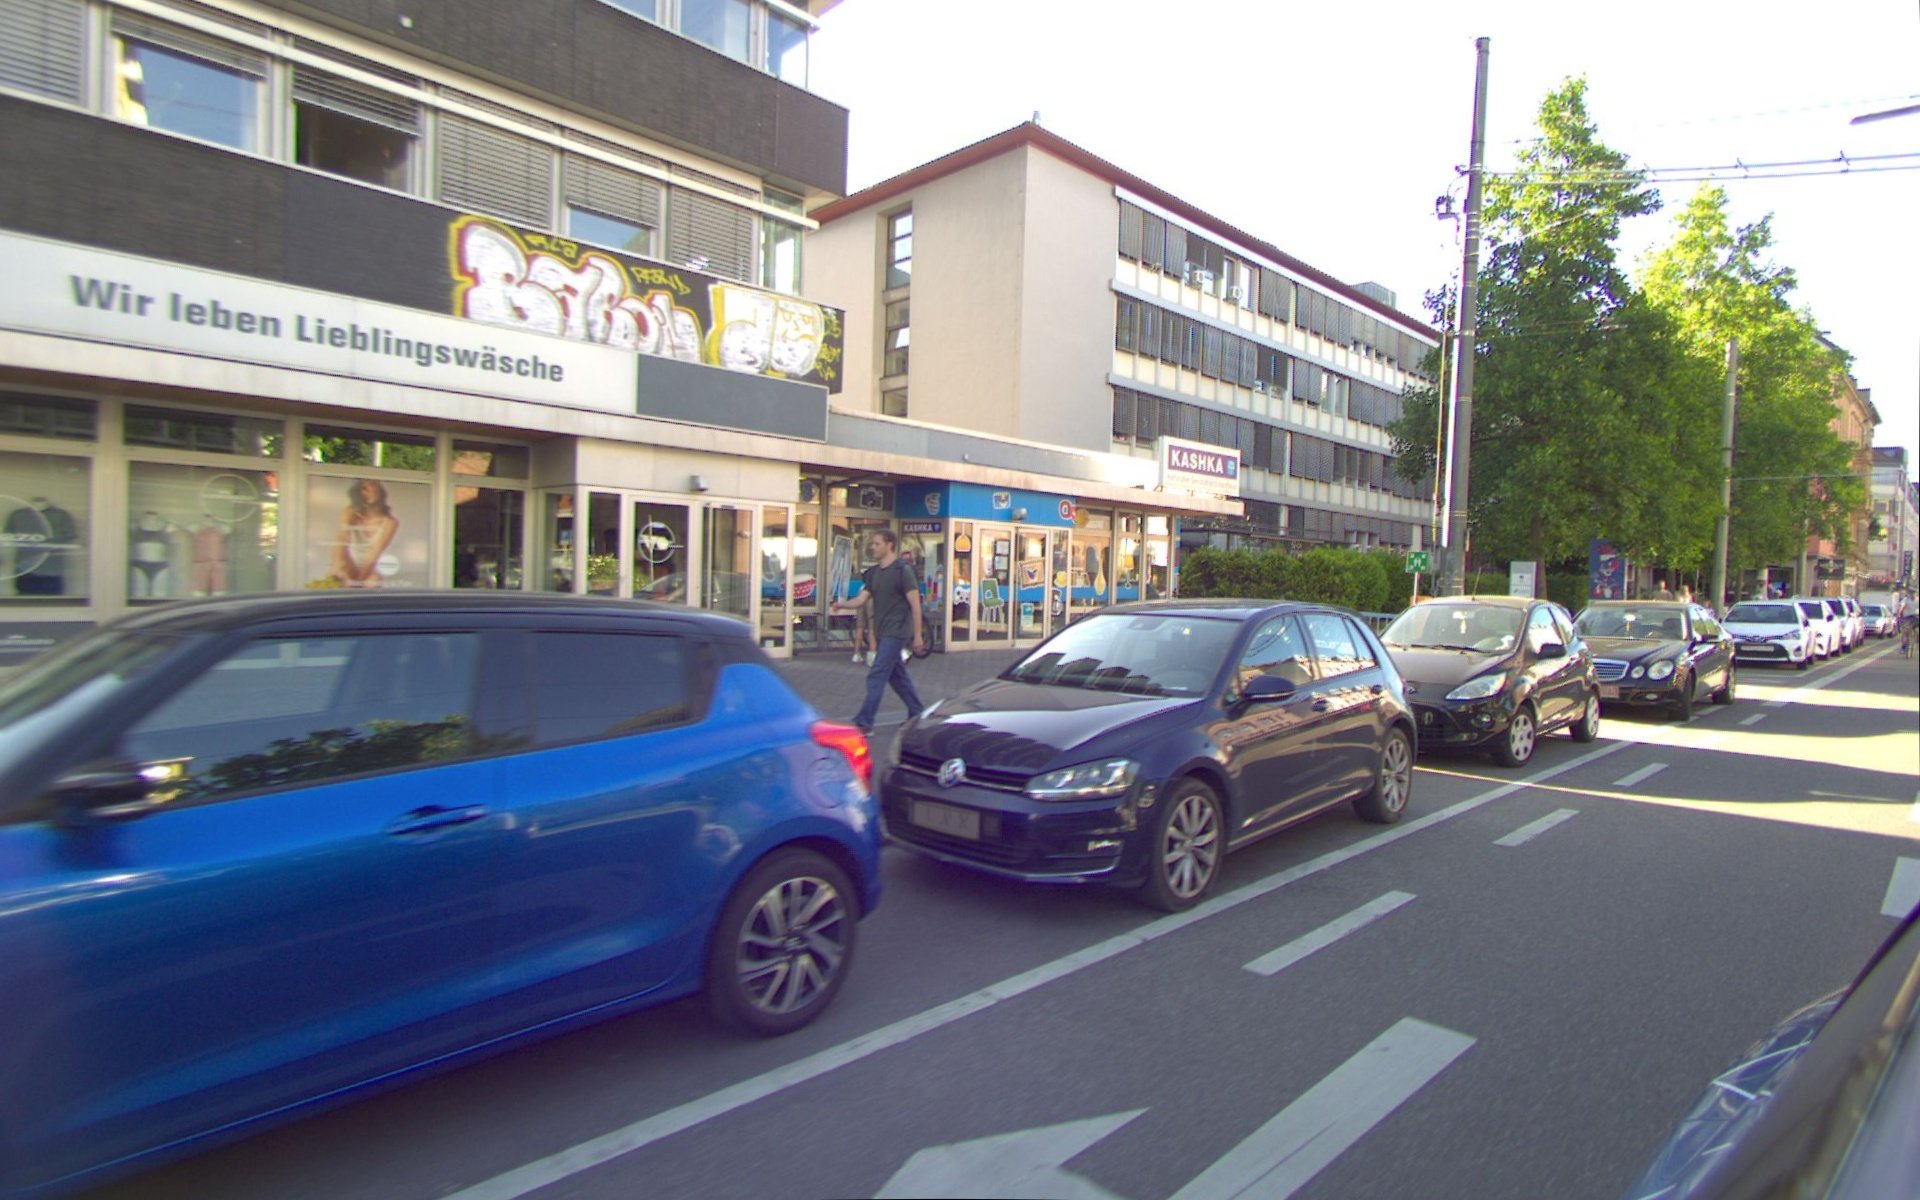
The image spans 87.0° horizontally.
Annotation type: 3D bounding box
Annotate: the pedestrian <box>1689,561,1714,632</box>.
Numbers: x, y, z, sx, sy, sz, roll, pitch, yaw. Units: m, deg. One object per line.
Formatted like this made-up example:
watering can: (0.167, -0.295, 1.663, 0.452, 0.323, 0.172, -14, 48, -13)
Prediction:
pedestrian: (21.646, -0.109, 29.552, 0.565, 2.039, 0.507, -1, 1, -44)

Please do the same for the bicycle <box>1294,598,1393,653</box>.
bicycle: (7.704, 0.492, 20.392, 1.810, 0.933, 0.400, 6, 5, 44)

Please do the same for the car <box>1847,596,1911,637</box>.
car: (38.622, 0.649, 42.509, 4.048, 1.501, 1.730, -2, 2, -44)

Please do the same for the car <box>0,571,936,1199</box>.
car: (-2.006, 0.666, 3.048, 3.716, 1.472, 1.715, 0, 1, -44)

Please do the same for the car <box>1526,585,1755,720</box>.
car: (9.640, 0.583, 14.148, 4.849, 1.501, 1.730, -2, 2, -44)

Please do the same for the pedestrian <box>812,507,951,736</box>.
pedestrian: (-0.704, 0.168, 9.146, 1.044, 1.935, 0.685, -1, 1, -41)

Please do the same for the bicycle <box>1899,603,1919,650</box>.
bicycle: (26.229, 0.710, 27.533, 2.044, 1.176, 0.888, -1, 1, -44)

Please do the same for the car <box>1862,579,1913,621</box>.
car: (47.961, -0.044, 52.293, 4.049, 2.075, 1.730, -2, 2, -44)

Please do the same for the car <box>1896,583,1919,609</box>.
car: (59.537, -0.244, 62.934, 4.049, 1.501, 1.730, -2, 2, -44)

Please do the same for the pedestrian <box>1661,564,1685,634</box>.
pedestrian: (21.184, -0.037, 30.064, 0.565, 2.039, 0.507, -1, 1, -44)

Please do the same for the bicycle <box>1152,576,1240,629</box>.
bicycle: (5.084, 0.027, 21.920, 0.563, 0.977, 1.805, -1, 5, -43)

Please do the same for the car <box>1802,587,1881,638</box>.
car: (29.930, 0.371, 34.319, 4.049, 1.570, 1.730, -2, 2, -44)

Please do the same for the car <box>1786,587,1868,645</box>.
car: (26.576, 0.433, 30.978, 1.728, 1.615, 4.051, 0, 1, 43)

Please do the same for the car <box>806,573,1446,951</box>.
car: (1.268, 0.611, 6.096, 4.157, 1.501, 1.699, -1, 1, -44)

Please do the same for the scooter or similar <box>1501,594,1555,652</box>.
scooter or similar: (12.764, 0.496, 22.736, 1.291, 1.224, 0.582, 0, 5, -43)

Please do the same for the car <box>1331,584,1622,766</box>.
car: (5.264, 0.590, 10.128, 3.499, 1.501, 1.572, -1, 1, -44)

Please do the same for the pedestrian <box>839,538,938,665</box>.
pedestrian: (-1.029, -0.006, 14.405, 0.901, 1.667, 1.012, -1, 7, -43)

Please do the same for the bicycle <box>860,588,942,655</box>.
bicycle: (-0.938, 0.312, 15.738, 0.334, 0.933, 1.572, -1, 4, -44)

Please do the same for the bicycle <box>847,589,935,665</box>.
bicycle: (-1.037, 0.369, 14.875, 0.334, 0.932, 1.573, -1, 6, -44)

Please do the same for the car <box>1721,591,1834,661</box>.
car: (19.068, 0.549, 23.547, 1.729, 1.502, 3.802, 1, 0, 44)

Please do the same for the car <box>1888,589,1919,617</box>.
car: (55.260, 0.134, 58.821, 4.184, 1.501, 1.730, -2, 2, -44)

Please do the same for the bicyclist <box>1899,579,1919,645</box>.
bicyclist: (26.169, 0.317, 27.498, 1.013, 1.787, 0.894, -1, 1, -44)

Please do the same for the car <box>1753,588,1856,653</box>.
car: (22.629, 0.483, 27.072, 4.048, 1.597, 1.730, -1, 1, -44)
